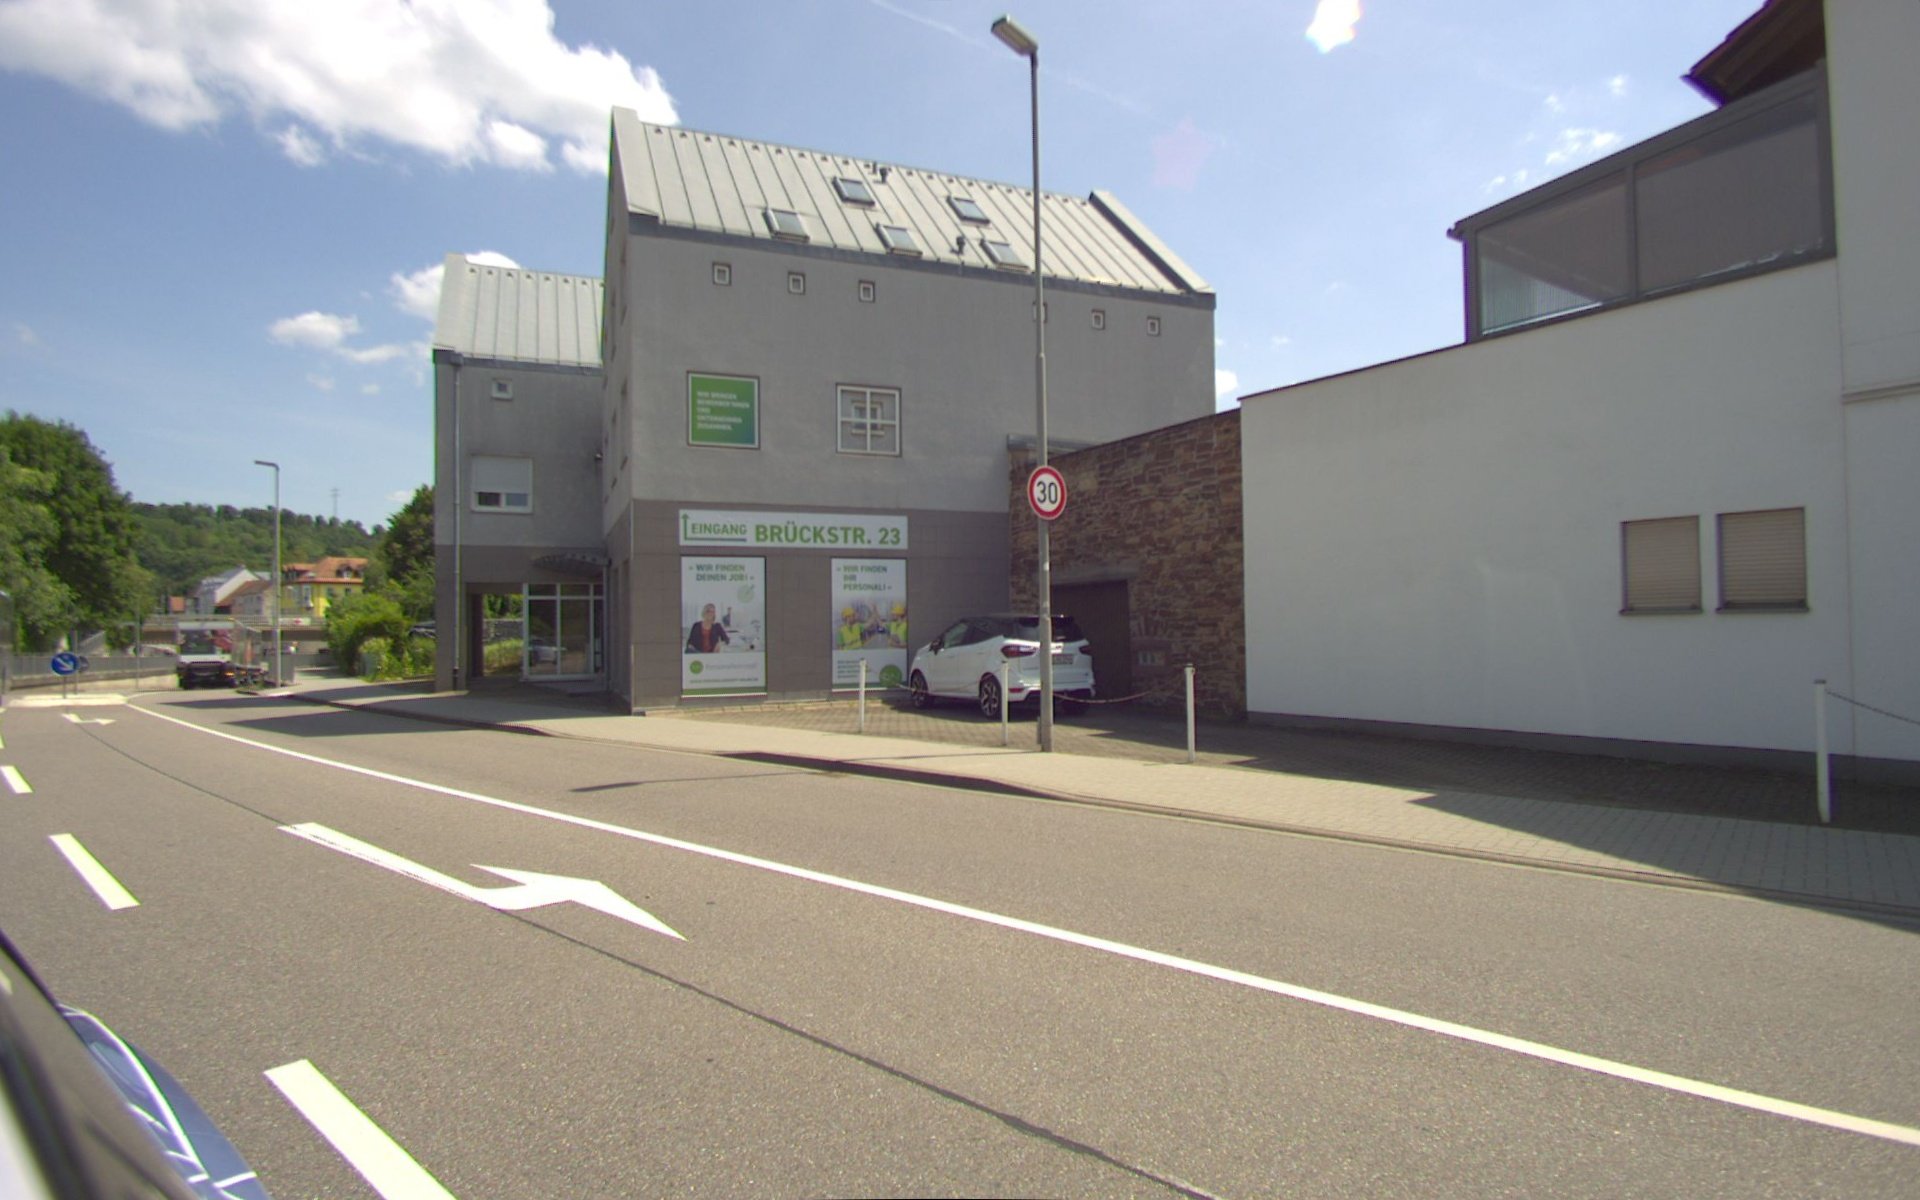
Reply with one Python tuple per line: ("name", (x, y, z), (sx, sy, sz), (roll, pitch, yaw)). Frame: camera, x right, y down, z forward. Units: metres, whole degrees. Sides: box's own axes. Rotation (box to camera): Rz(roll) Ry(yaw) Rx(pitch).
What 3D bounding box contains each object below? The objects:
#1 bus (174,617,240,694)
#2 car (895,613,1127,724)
("bus", (-43.294, 3.280, 58.350), (2.773, 4.033, 10.991), (0, -4, -36))
("car", (0.688, 1.097, 16.912), (1.965, 1.587, 4.266), (1, -3, -28))
